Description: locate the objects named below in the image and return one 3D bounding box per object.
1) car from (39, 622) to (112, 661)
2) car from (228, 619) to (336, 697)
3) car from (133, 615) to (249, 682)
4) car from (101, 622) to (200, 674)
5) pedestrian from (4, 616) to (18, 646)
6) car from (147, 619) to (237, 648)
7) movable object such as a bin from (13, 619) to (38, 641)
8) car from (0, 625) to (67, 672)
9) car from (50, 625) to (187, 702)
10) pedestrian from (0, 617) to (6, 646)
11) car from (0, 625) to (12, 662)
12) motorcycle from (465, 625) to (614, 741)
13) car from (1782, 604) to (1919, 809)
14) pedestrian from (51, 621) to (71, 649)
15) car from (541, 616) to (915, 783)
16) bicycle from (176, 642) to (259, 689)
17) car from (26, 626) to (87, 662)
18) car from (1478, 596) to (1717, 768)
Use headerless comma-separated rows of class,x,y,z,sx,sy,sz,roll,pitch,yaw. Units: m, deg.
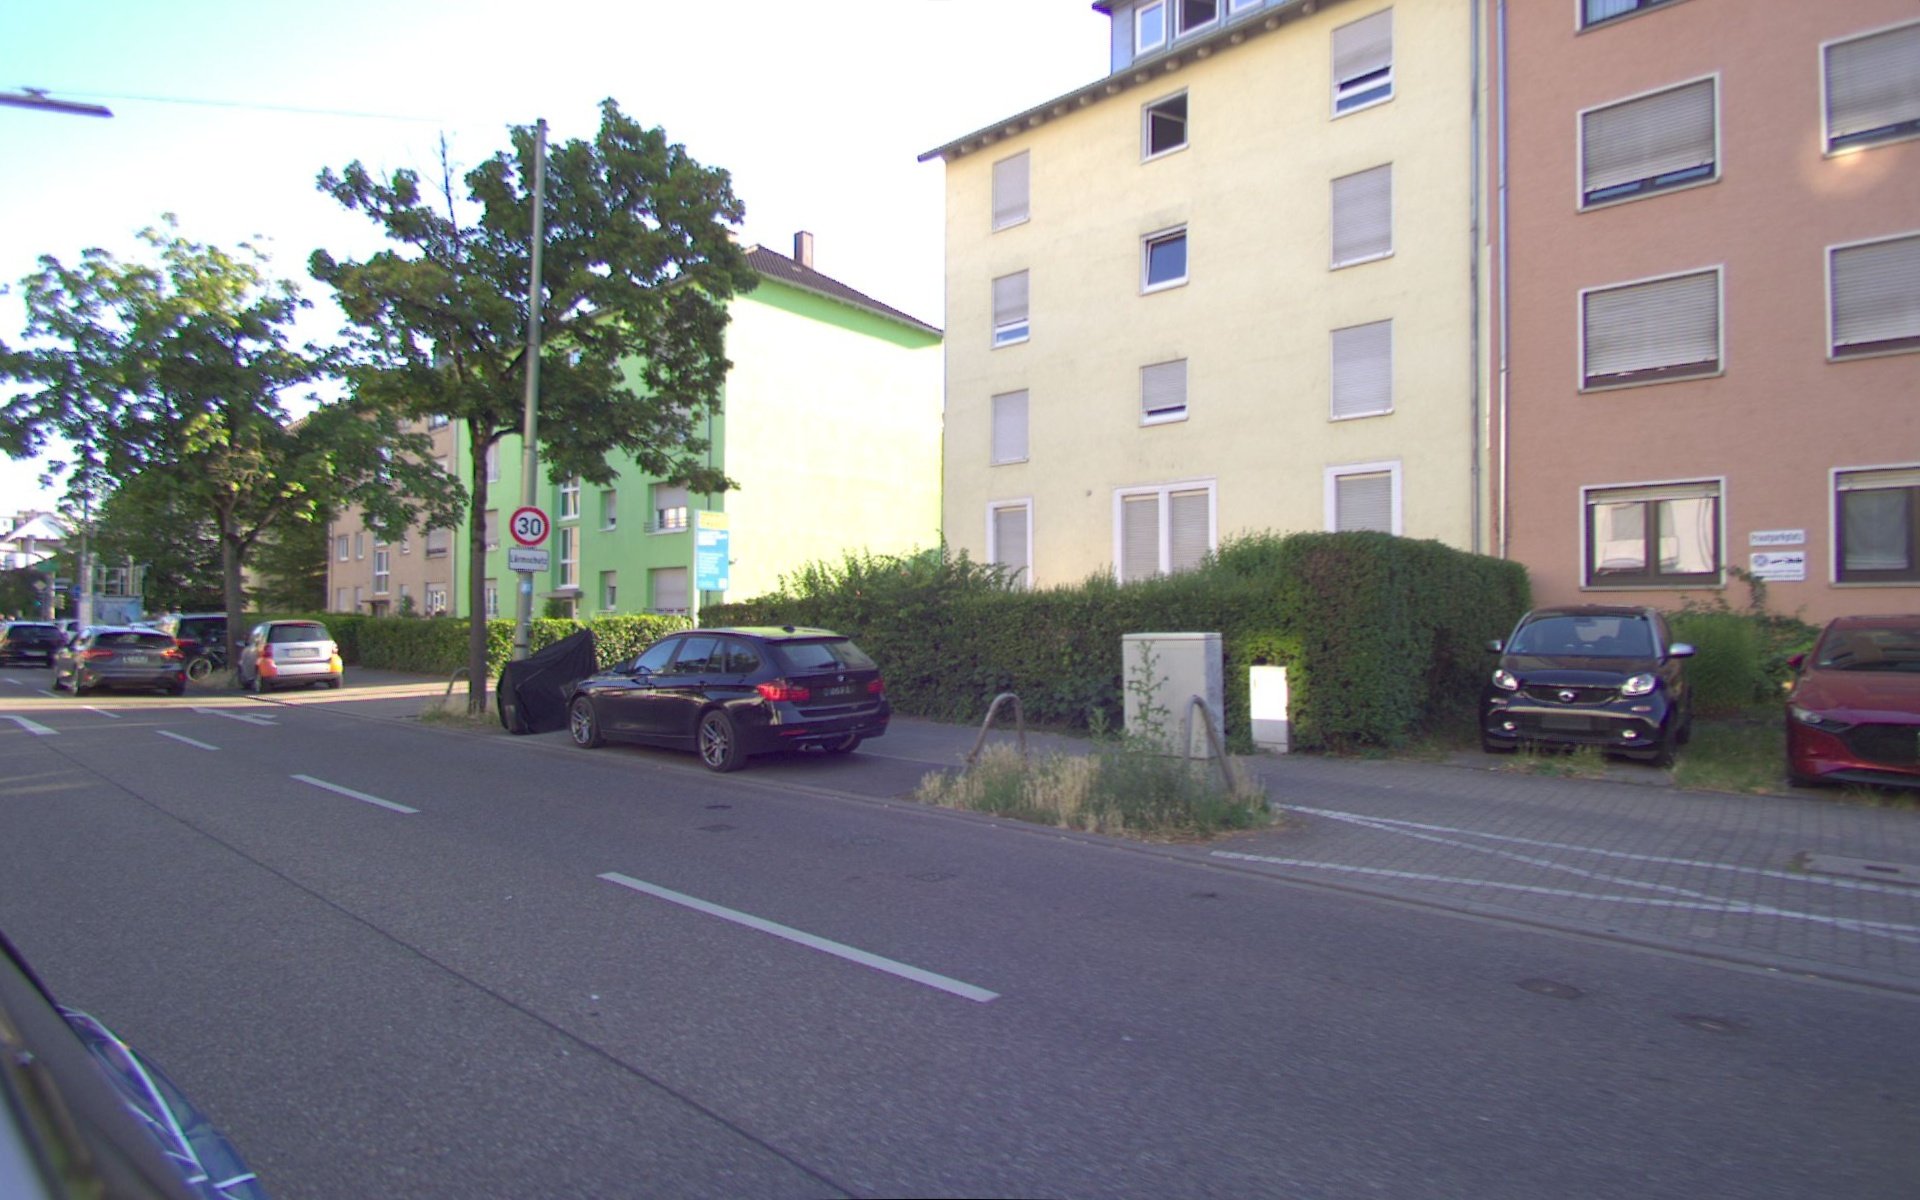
car,-36.614,1.679,41.864,3.781,1.564,1.621,-1,-2,39
car,-15.313,1.250,22.827,2.862,1.629,1.482,-1,-2,44
car,-21.830,1.327,28.664,4.616,1.746,1.765,-1,-2,42
car,-25.763,1.477,32.179,4.187,1.532,1.665,-1,-2,40
pedestrian,-65.608,2.153,69.948,0.814,2.029,0.637,0,0,42
car,-50.950,2.196,67.204,1.907,1.862,4.426,-1,-2,41
movable object such as a bin,-75.959,2.424,82.248,1.180,1.670,1.292,0,3,41
car,-30.042,1.538,32.343,4.026,1.414,1.682,-1,-4,41
car,-18.053,1.292,21.649,4.294,1.482,1.681,-1,-3,43
pedestrian,-67.047,2.182,70.624,0.739,2.029,0.631,-1,-2,42
car,-40.681,1.748,41.651,4.448,1.482,1.813,-1,-5,40
motorcycle,-5.735,1.088,13.963,0.980,1.399,2.022,0,1,9
car,8.515,0.788,8.831,1.915,1.423,3.945,-1,0,41
pedestrian,-53.406,2.087,60.105,0.607,1.670,0.741,-1,-2,34
car,-2.761,0.948,11.371,4.586,1.516,1.760,-1,-1,41
bicycle,-19.275,1.683,26.307,0.560,1.097,1.657,-2,-1,43
car,-40.246,1.920,45.036,3.943,1.490,1.635,-1,-2,43
car,7.111,0.745,11.108,1.628,1.540,3.945,-1,-1,41
